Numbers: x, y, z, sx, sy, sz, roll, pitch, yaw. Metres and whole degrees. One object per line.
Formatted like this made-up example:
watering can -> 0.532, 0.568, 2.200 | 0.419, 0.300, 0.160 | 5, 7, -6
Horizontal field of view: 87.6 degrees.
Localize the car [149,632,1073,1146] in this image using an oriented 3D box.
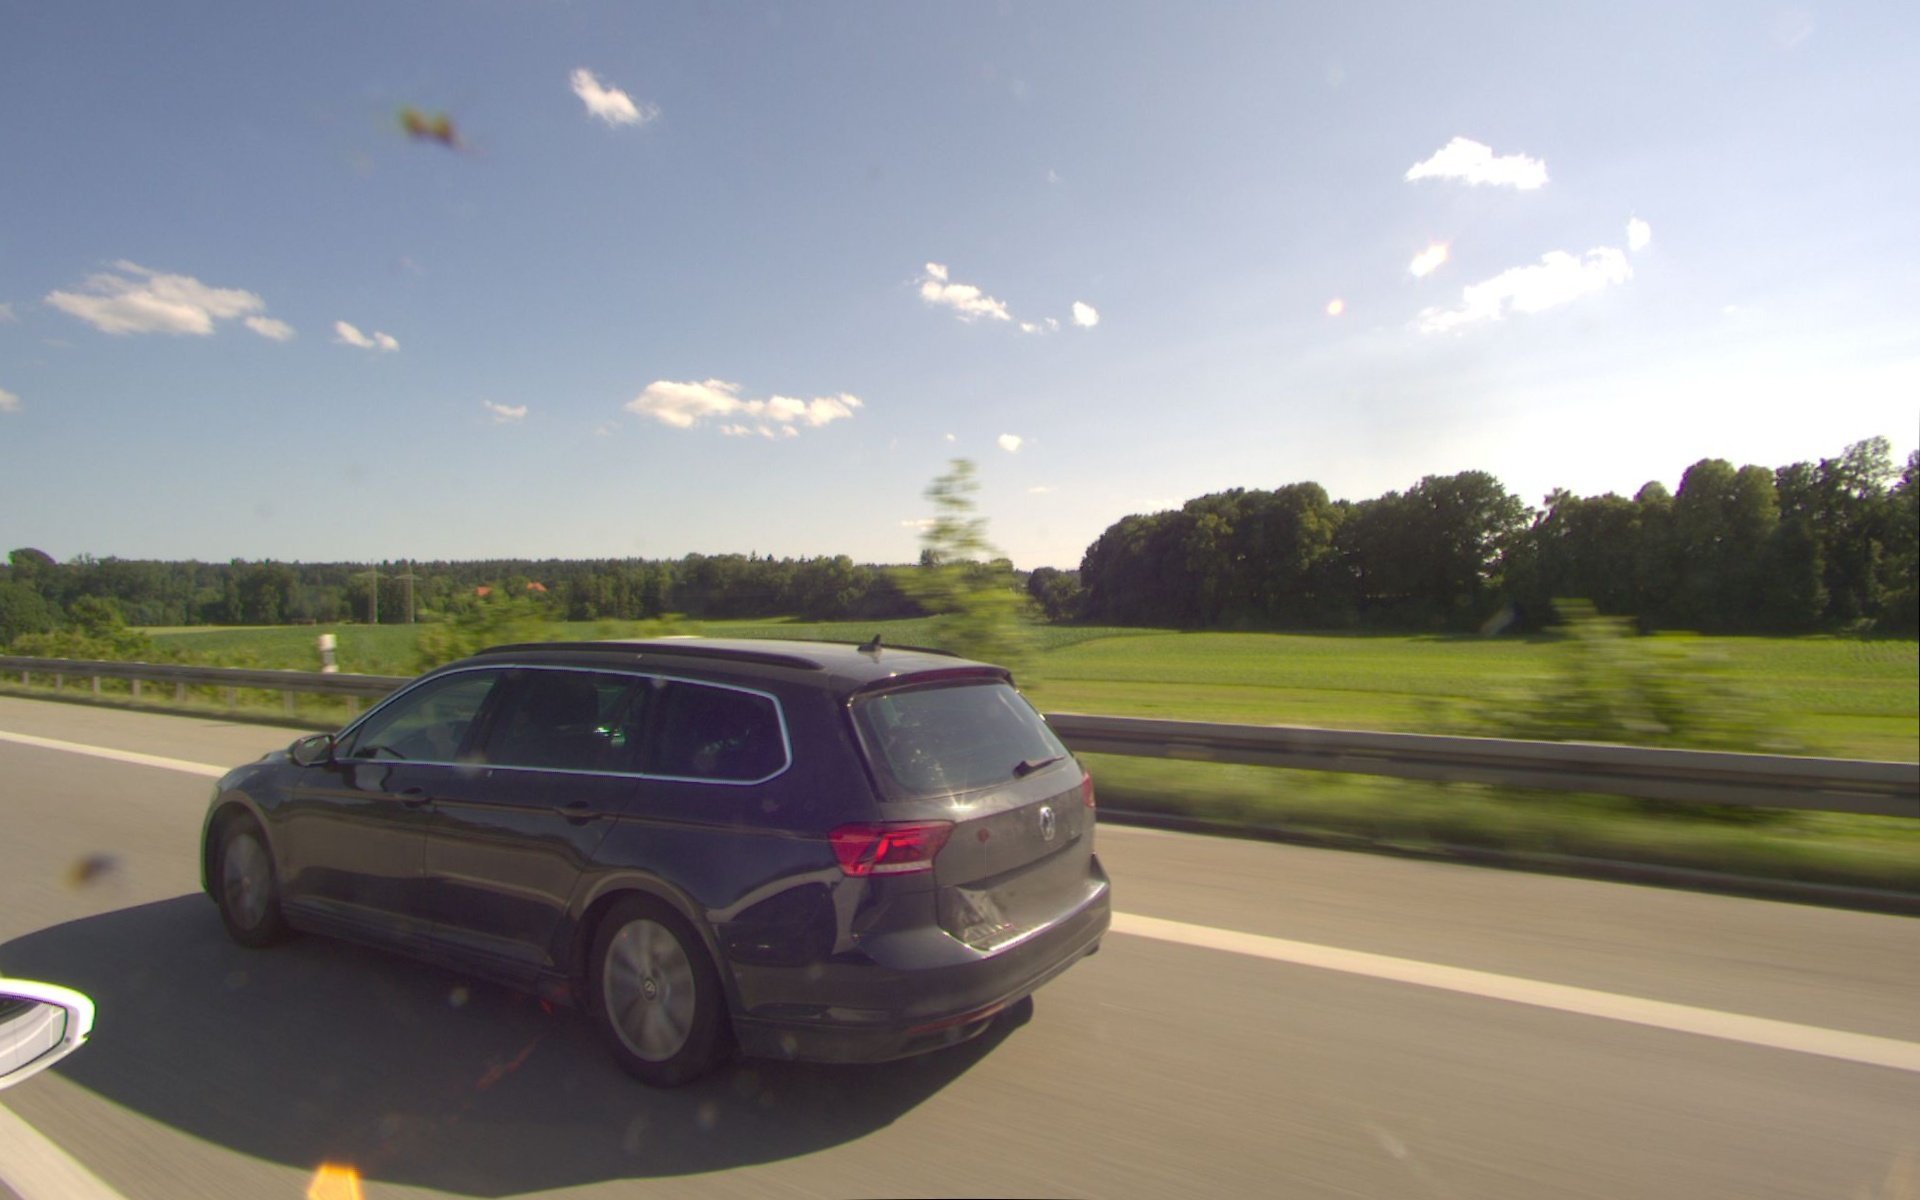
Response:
car -> -1.809, 0.877, 4.671 | 4.350, 1.417, 1.716 | -1, -3, 32
